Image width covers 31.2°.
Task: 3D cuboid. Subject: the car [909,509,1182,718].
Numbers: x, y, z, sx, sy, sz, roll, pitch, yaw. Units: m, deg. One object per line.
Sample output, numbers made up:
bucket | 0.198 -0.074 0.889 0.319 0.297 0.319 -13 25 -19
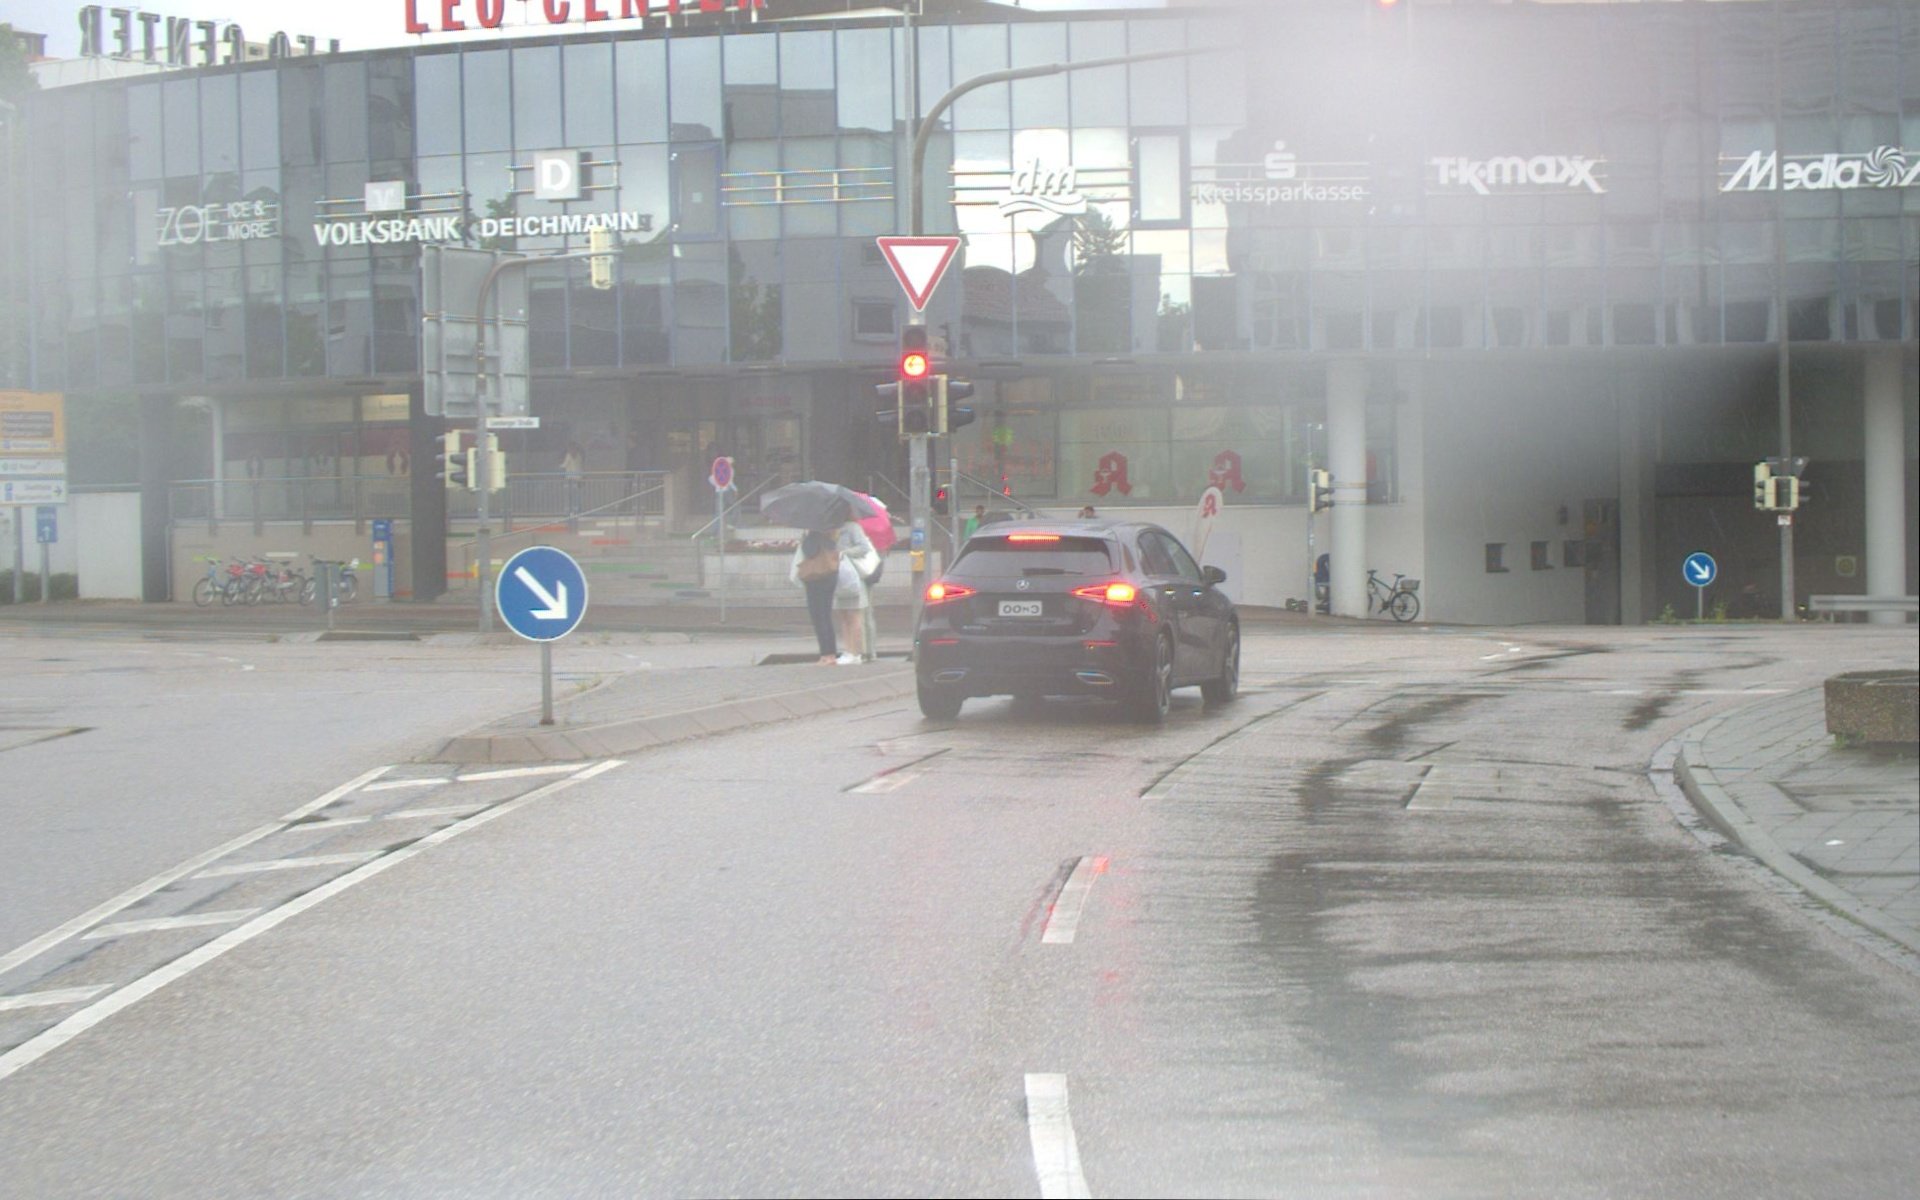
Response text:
car | 0.719 0.046 25.835 1.805 1.414 4.000 -1 2 5

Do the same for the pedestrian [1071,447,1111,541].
pedestrian | 2.831 -2.291 74.247 0.787 2.007 0.670 -1 1 5

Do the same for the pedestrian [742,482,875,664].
pedestrian | -1.430 -0.259 32.434 0.909 1.653 0.755 2 2 -33

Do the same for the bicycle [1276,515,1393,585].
bicycle | 8.080 -1.082 74.225 2.423 1.459 0.656 -1 3 -7

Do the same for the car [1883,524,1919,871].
car | 4.817 0.421 13.046 1.698 1.481 4.000 -4 1 4

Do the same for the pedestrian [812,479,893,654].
pedestrian | -1.048 -0.332 33.363 0.609 1.653 0.672 3 2 -10
